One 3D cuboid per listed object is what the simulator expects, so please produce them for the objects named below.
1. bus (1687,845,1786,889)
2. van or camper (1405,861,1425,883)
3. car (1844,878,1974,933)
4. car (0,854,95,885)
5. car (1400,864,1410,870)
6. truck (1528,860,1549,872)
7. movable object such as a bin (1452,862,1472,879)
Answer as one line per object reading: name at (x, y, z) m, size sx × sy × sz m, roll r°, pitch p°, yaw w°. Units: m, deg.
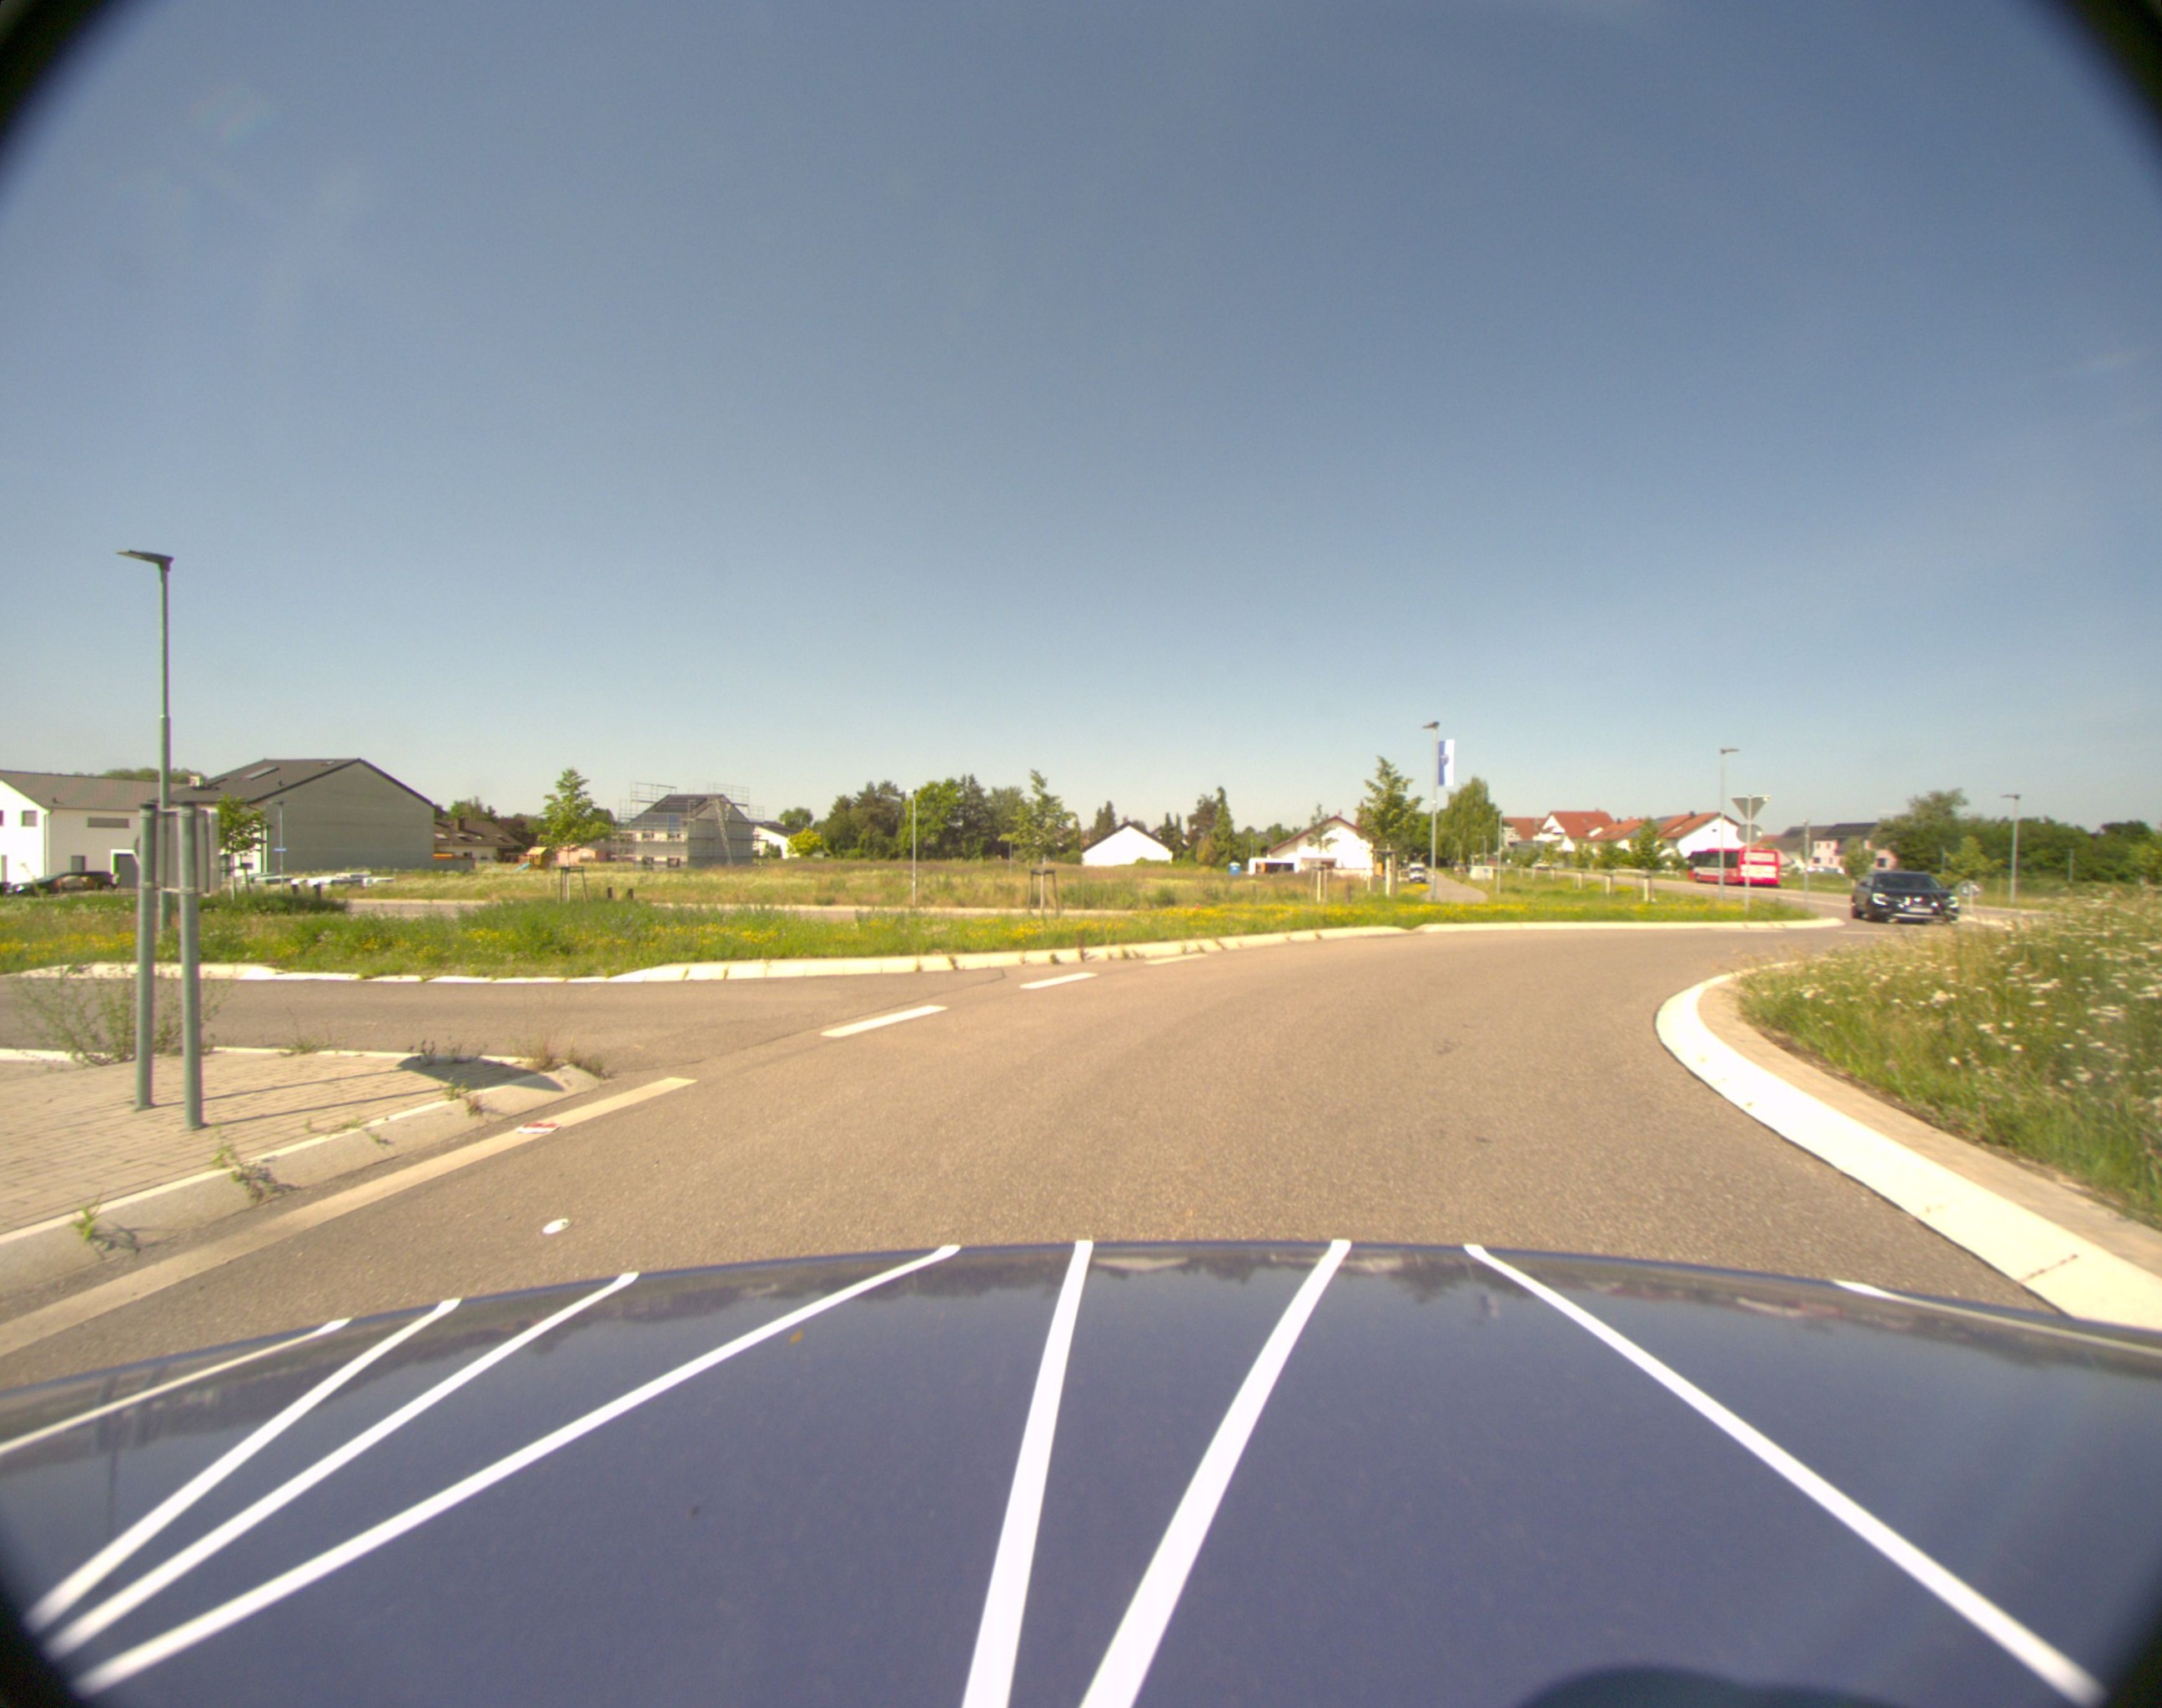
bus at (55.113, 1.069, 64.354) m, size 2.795 × 3.268 × 12.252 m, roll 4°, pitch 1°, yaw 24°
van or camper at (41.622, 2.158, 94.531) m, size 2.173 × 2.585 × 6.041 m, roll 1°, pitch 0°, yaw 24°
car at (26.555, 1.582, 24.540) m, size 1.929 × 1.552 × 4.009 m, roll 1°, pitch 0°, yaw 34°
car at (-64.186, 0.927, 46.632) m, size 1.996 × 1.783 × 4.004 m, roll 0°, pitch 0°, yaw 13°
car at (72.007, 2.883, 168.908) m, size 1.860 × 1.437 × 4.175 m, roll -1°, pitch 0°, yaw 20°
truck at (79.860, 2.024, 132.740) m, size 1.953 × 1.973 × 5.652 m, roll 0°, pitch 0°, yaw 19°
movable object such as a bin at (56.865, 2.549, 113.371) m, size 2.318 × 2.448 × 6.959 m, roll -1°, pitch -2°, yaw 24°
